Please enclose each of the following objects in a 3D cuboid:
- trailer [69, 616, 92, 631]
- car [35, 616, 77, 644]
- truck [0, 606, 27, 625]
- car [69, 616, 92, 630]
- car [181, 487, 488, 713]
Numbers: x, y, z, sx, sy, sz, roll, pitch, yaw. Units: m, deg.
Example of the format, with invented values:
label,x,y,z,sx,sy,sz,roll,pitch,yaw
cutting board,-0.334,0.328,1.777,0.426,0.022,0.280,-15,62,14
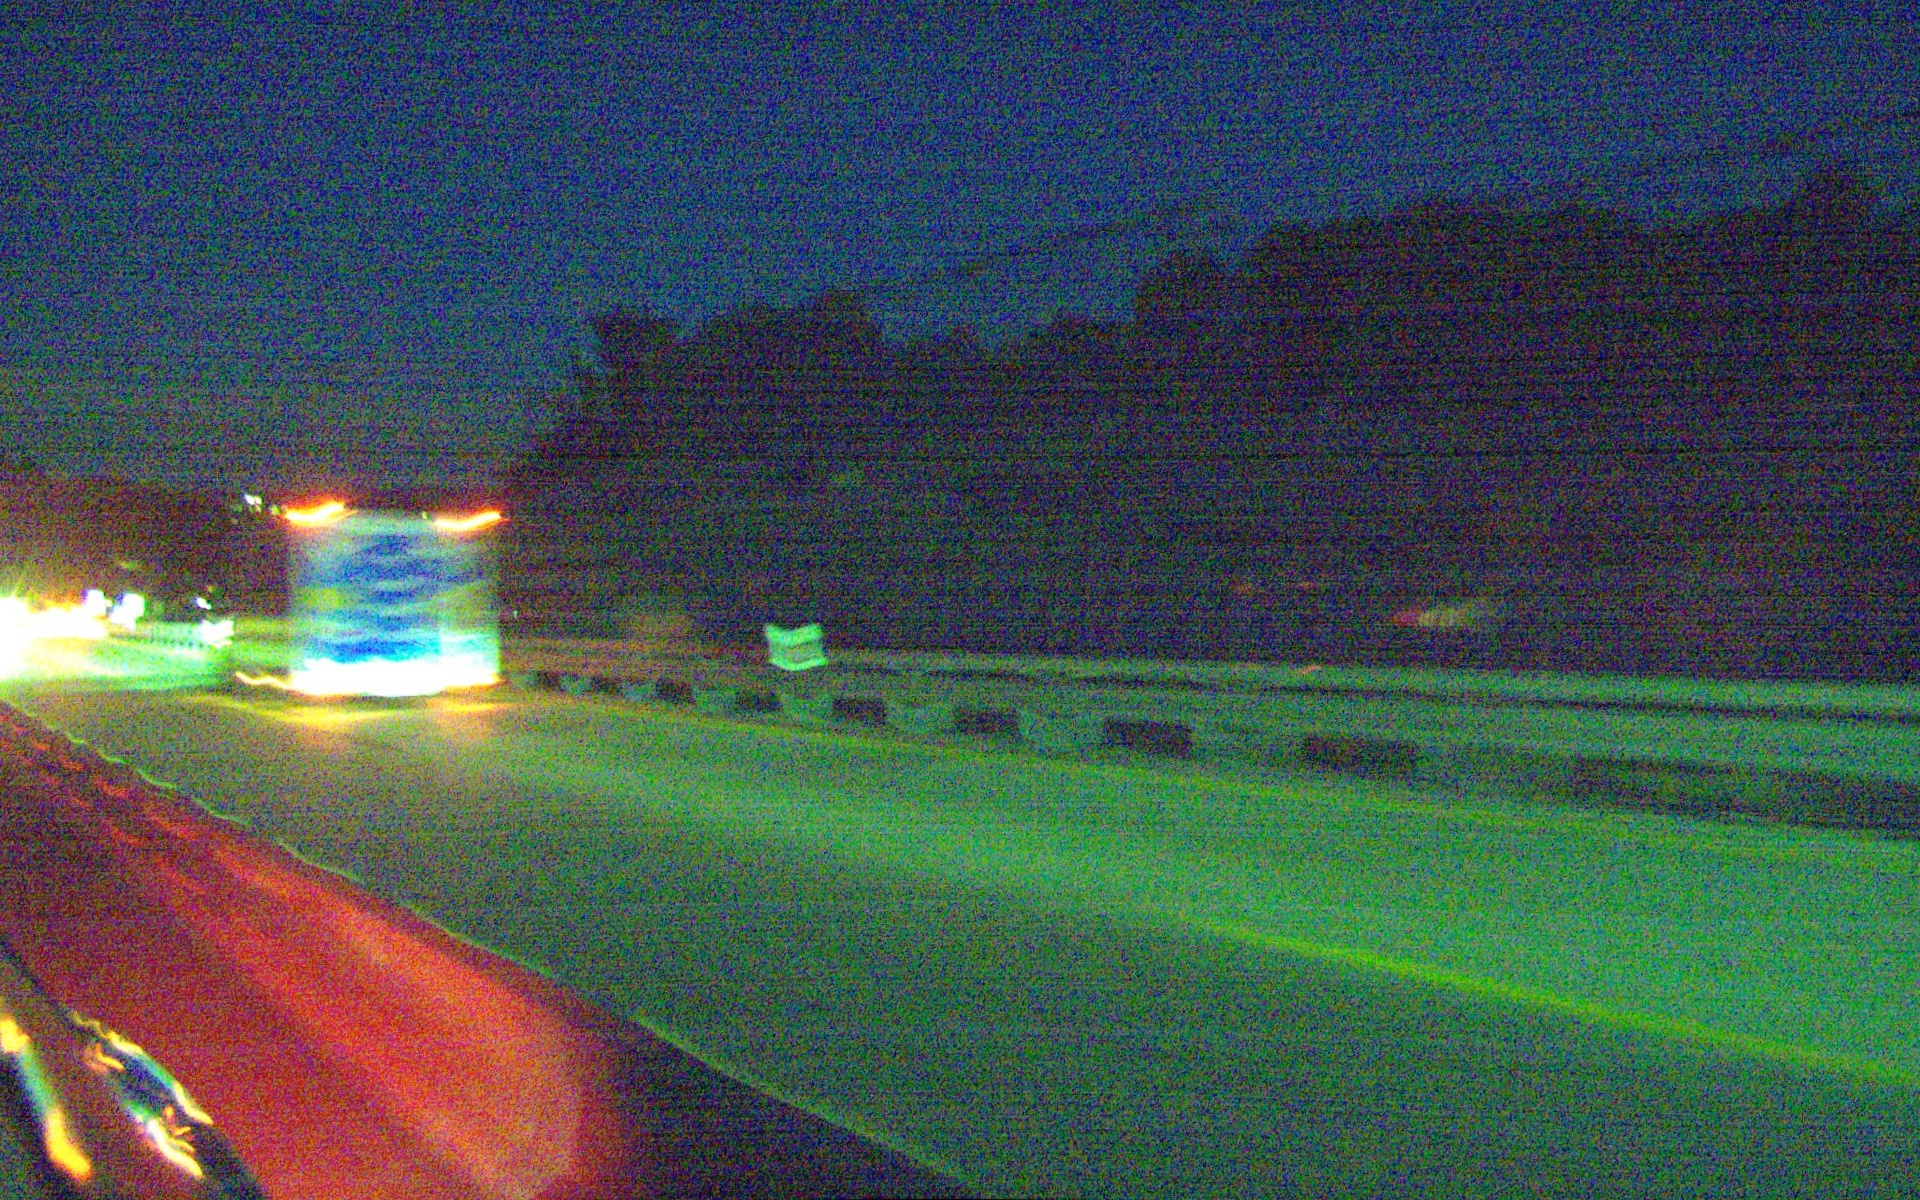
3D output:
label,x,y,z,sx,sy,sz,roll,pitch,yaw
trailer,-105.080,2.777,120.951,1.988,1.652,3.423,1,-1,-41
car,-49.972,1.644,55.967,1.664,1.470,4.205,1,-2,-42
truck,-127.140,2.063,135.661,2.389,2.443,7.106,1,-2,-38
car,-107.777,2.780,124.060,1.988,1.652,4.870,1,-1,-41
car,-10.985,0.010,17.400,7.383,3.129,2.460,0,-1,42
